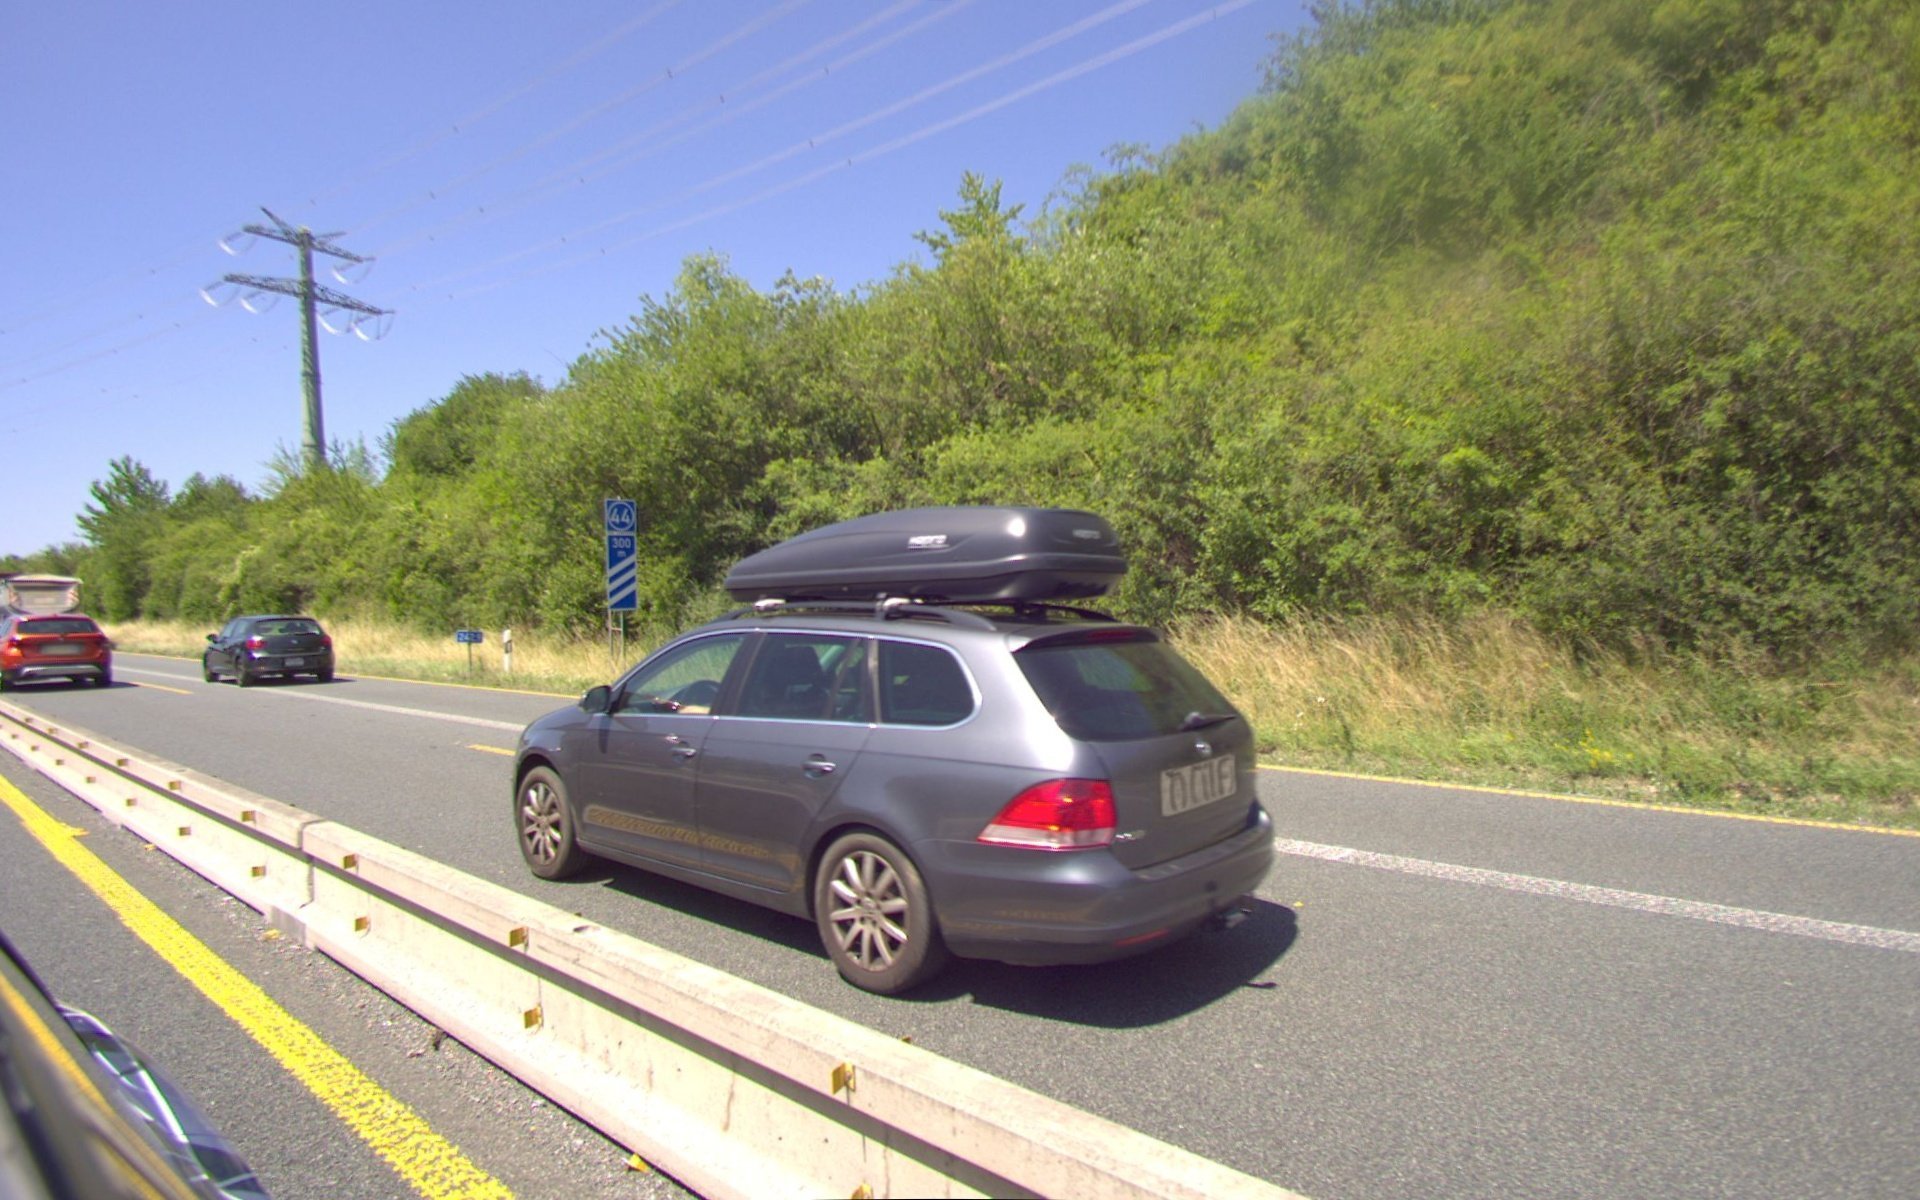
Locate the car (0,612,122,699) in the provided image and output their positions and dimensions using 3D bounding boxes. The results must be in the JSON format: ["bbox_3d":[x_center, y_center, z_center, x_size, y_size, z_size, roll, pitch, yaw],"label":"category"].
[{"bbox_3d":[-19.192,1.075,21.193,4.274,1.601,1.879,-1,0,41],"label":"car"}]

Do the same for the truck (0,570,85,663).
[{"bbox_3d":[-43.018,0.733,46.393,11.375,3.804,2.905,-1,1,42],"label":"truck"}]

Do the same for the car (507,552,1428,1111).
[{"bbox_3d":[-0.285,0.644,4.895,4.274,1.527,1.879,-1,0,41],"label":"car"}]

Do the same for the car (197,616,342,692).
[{"bbox_3d":[-14.719,1.084,21.524,3.640,1.432,1.663,-1,0,41],"label":"car"}]
